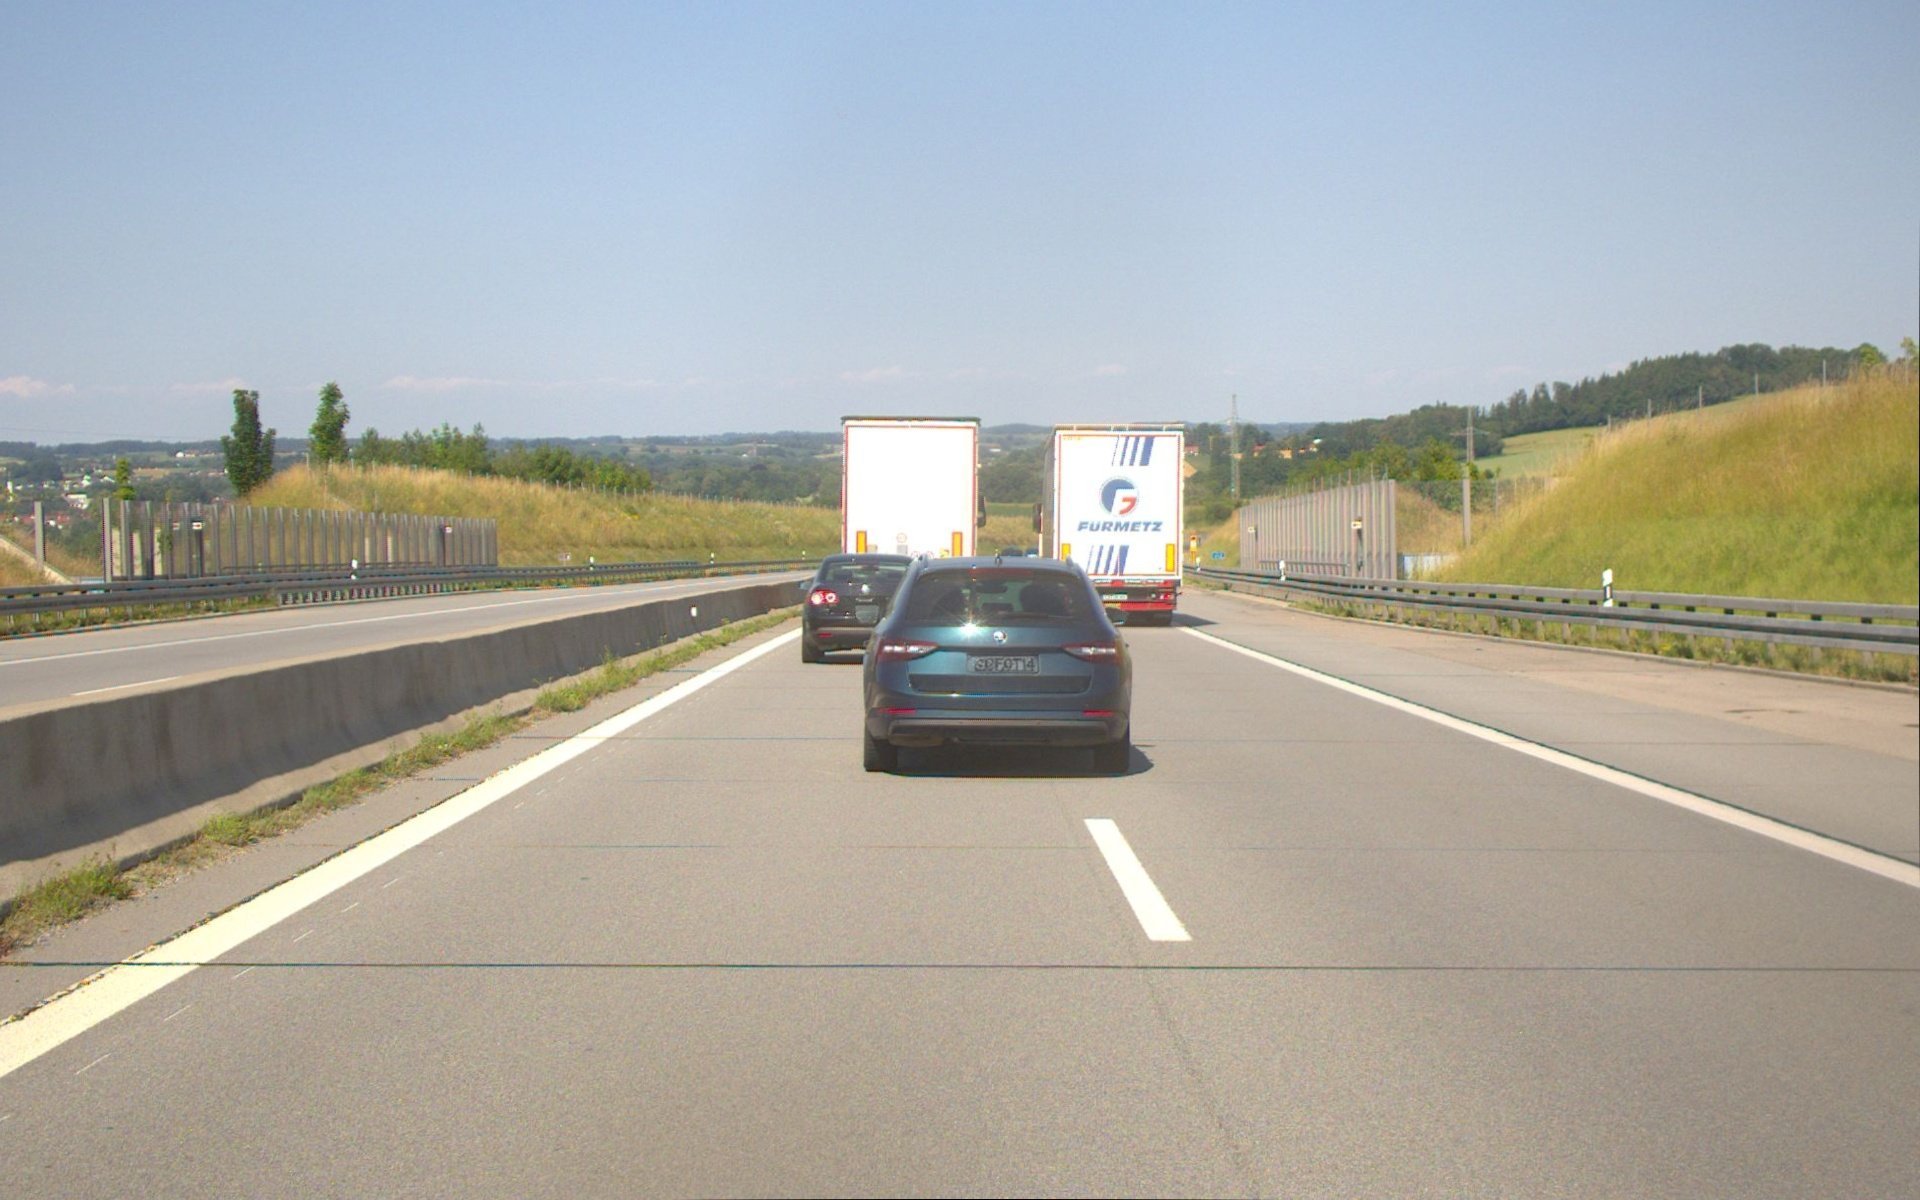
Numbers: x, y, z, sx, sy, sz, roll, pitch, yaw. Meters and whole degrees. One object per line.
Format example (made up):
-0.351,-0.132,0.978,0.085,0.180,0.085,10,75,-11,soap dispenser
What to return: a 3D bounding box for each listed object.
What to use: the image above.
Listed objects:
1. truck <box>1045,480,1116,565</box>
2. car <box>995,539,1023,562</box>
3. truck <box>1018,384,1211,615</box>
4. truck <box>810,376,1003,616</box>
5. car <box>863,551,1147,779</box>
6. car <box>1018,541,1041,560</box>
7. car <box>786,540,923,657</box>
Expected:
6.559,-4.241,188.231,3.604,4.366,11.233,-2,1,2,truck
3.083,-3.139,216.267,1.700,1.436,4.000,0,1,0,car
3.182,-2.070,72.852,3.604,4.366,11.233,-2,1,2,truck
-0.937,-2.050,70.014,3.211,4.366,11.233,-2,1,2,truck
0.234,0.389,23.830,1.776,1.436,3.789,0,1,-2,car
5.297,-3.787,261.131,1.700,1.436,4.000,0,1,0,car
-1.428,-0.054,46.074,1.700,1.436,4.000,-2,1,-2,car
